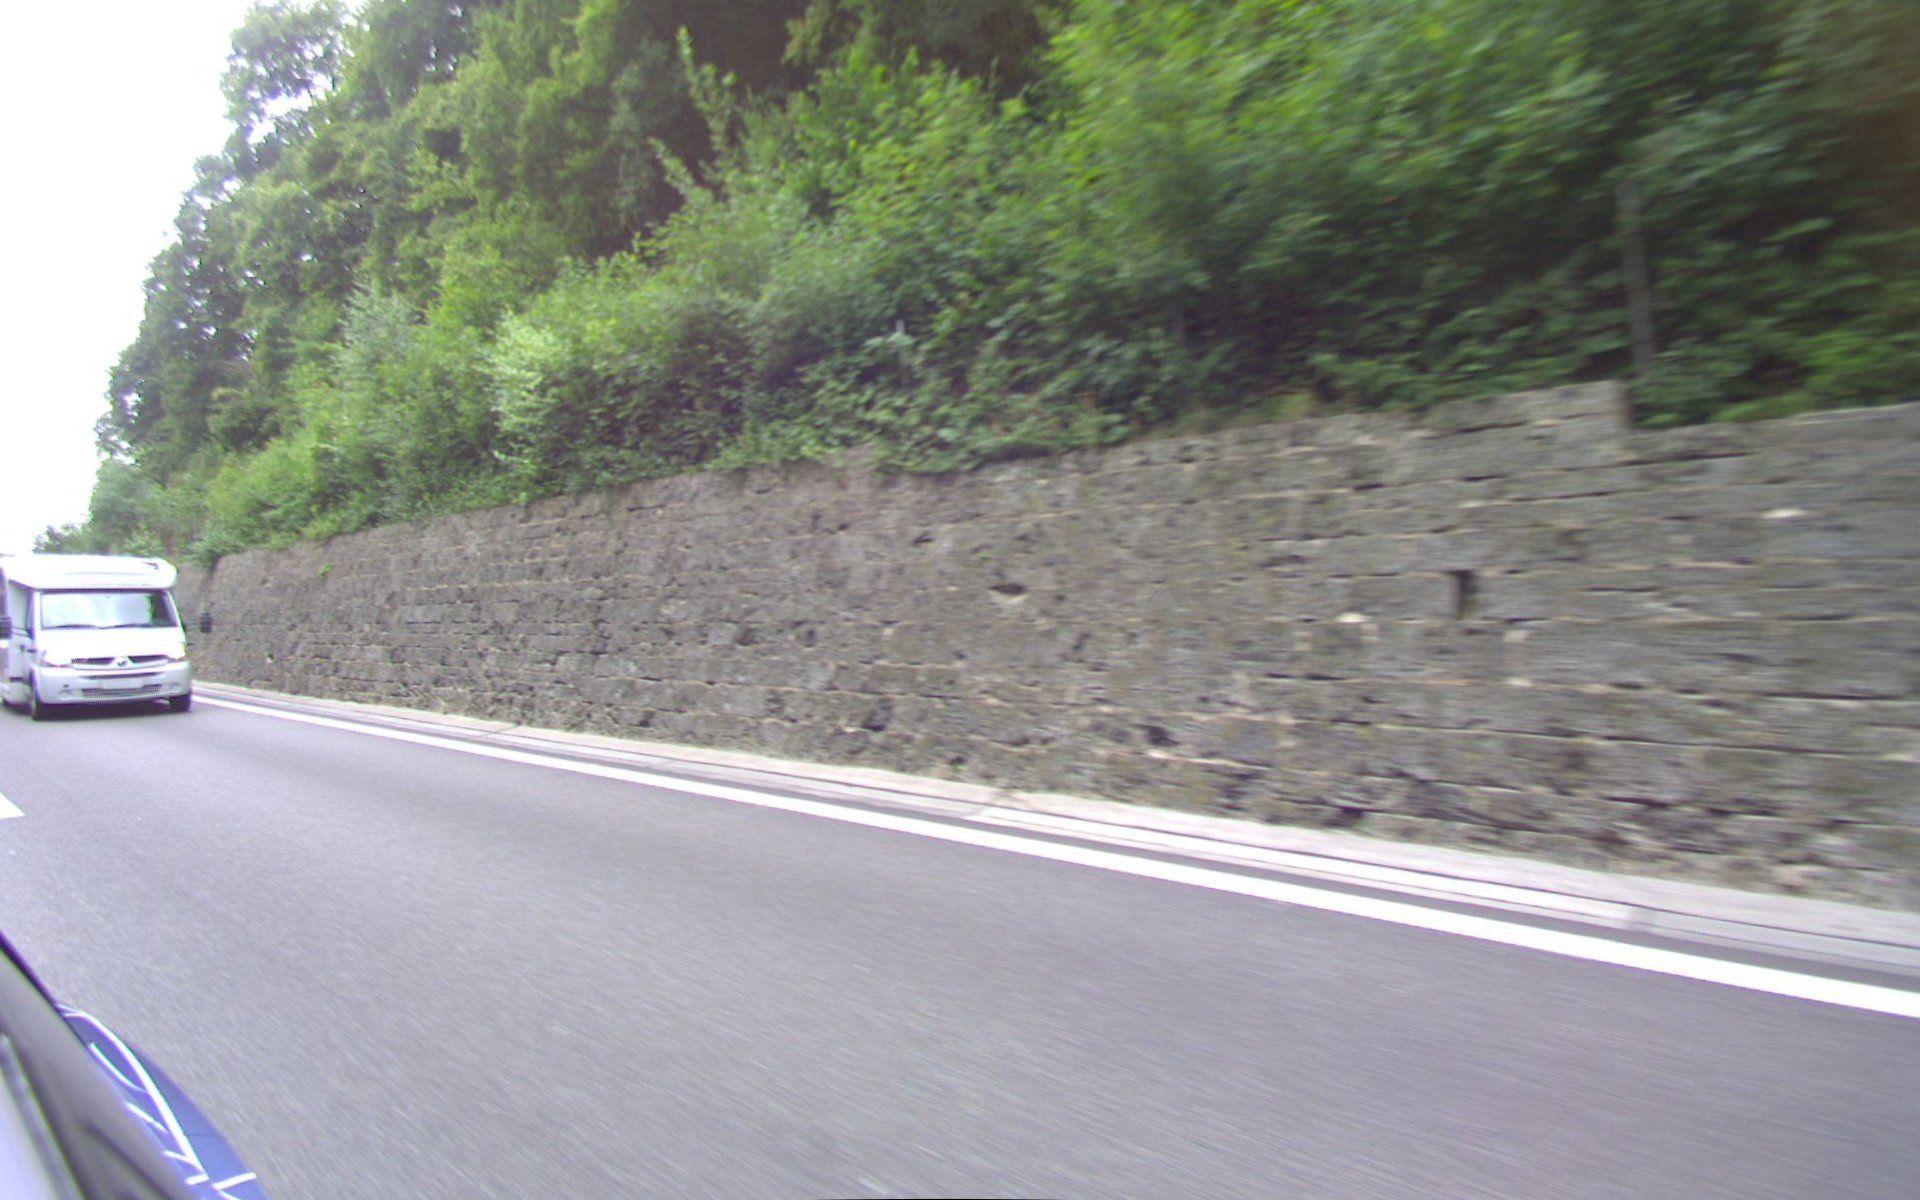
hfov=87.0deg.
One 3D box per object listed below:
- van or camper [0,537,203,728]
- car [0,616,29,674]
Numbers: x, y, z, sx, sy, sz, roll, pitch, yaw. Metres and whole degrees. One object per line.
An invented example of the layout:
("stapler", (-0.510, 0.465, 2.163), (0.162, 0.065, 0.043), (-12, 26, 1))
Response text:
("van or camper", (-15.615, 0.533, 17.731), (7.018, 2.756, 2.242), (-1, -1, 40))
("car", (-31.869, 1.466, 33.148), (4.001, 1.796, 1.784), (-2, -1, 44))
